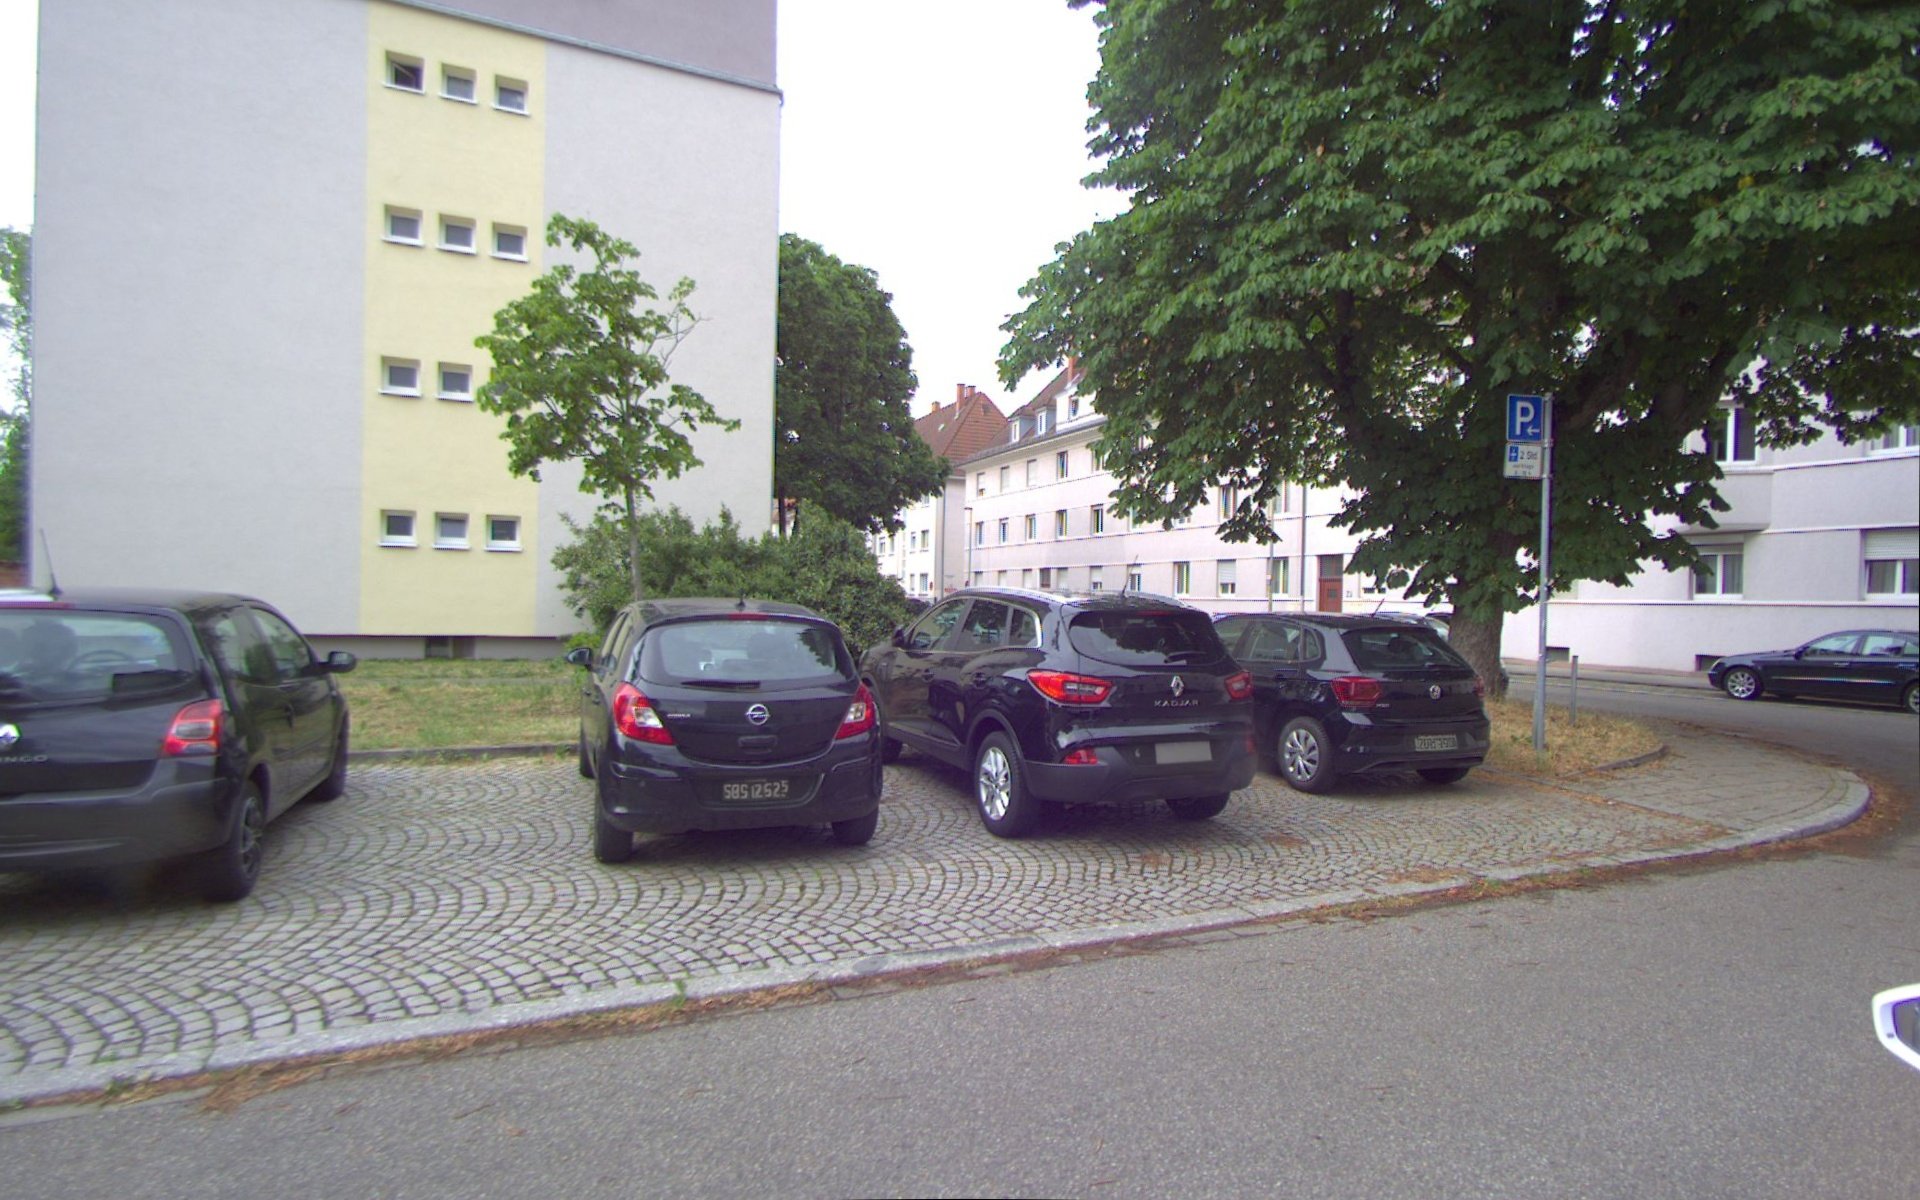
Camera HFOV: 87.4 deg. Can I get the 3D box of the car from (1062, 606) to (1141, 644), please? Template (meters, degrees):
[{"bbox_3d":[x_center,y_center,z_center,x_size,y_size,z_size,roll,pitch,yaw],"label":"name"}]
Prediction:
[{"bbox_3d":[6.147,1.070,43.960,1.678,1.546,3.803,0,0,-23],"label":"car"}]

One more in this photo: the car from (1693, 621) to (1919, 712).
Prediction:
[{"bbox_3d":[16.701,1.183,18.531,1.727,1.440,4.918,0,1,-25],"label":"car"}]

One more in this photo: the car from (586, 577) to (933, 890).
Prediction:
[{"bbox_3d":[-1.766,0.656,7.446,1.814,1.587,4.336,2,1,-20],"label":"car"}]

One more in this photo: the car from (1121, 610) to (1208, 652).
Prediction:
[{"bbox_3d":[7.883,1.161,39.056,1.549,1.493,3.676,1,0,-22],"label":"car"}]

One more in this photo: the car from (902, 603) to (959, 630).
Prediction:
[{"bbox_3d":[-1.842,0.964,61.272,1.737,1.487,4.571,2,0,-25],"label":"car"}]

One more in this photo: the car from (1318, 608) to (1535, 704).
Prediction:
[{"bbox_3d":[8.514,0.977,18.649,1.507,1.513,3.573,4,-1,-21],"label":"car"}]

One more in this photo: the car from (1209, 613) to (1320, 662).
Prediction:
[{"bbox_3d":[10.297,1.224,34.229,1.550,1.498,3.849,1,0,-23],"label":"car"}]

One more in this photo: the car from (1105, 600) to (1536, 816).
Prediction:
[{"bbox_3d":[3.121,0.814,9.568,1.804,1.598,3.823,1,0,-21],"label":"car"}]

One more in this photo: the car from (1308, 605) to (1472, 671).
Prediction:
[{"bbox_3d":[12.462,1.039,29.401,1.824,1.696,4.261,0,1,-26],"label":"car"}]

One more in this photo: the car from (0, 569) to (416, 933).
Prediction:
[{"bbox_3d":[-4.812,0.586,6.257,1.814,1.483,4.538,2,1,-20],"label":"car"}]

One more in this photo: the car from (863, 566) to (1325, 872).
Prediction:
[{"bbox_3d":[0.689,0.652,7.879,1.888,1.720,4.049,2,1,-20],"label":"car"}]

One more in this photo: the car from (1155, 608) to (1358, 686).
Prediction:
[{"bbox_3d":[6.718,1.032,23.366,1.847,1.483,4.807,4,-1,-23],"label":"car"}]
